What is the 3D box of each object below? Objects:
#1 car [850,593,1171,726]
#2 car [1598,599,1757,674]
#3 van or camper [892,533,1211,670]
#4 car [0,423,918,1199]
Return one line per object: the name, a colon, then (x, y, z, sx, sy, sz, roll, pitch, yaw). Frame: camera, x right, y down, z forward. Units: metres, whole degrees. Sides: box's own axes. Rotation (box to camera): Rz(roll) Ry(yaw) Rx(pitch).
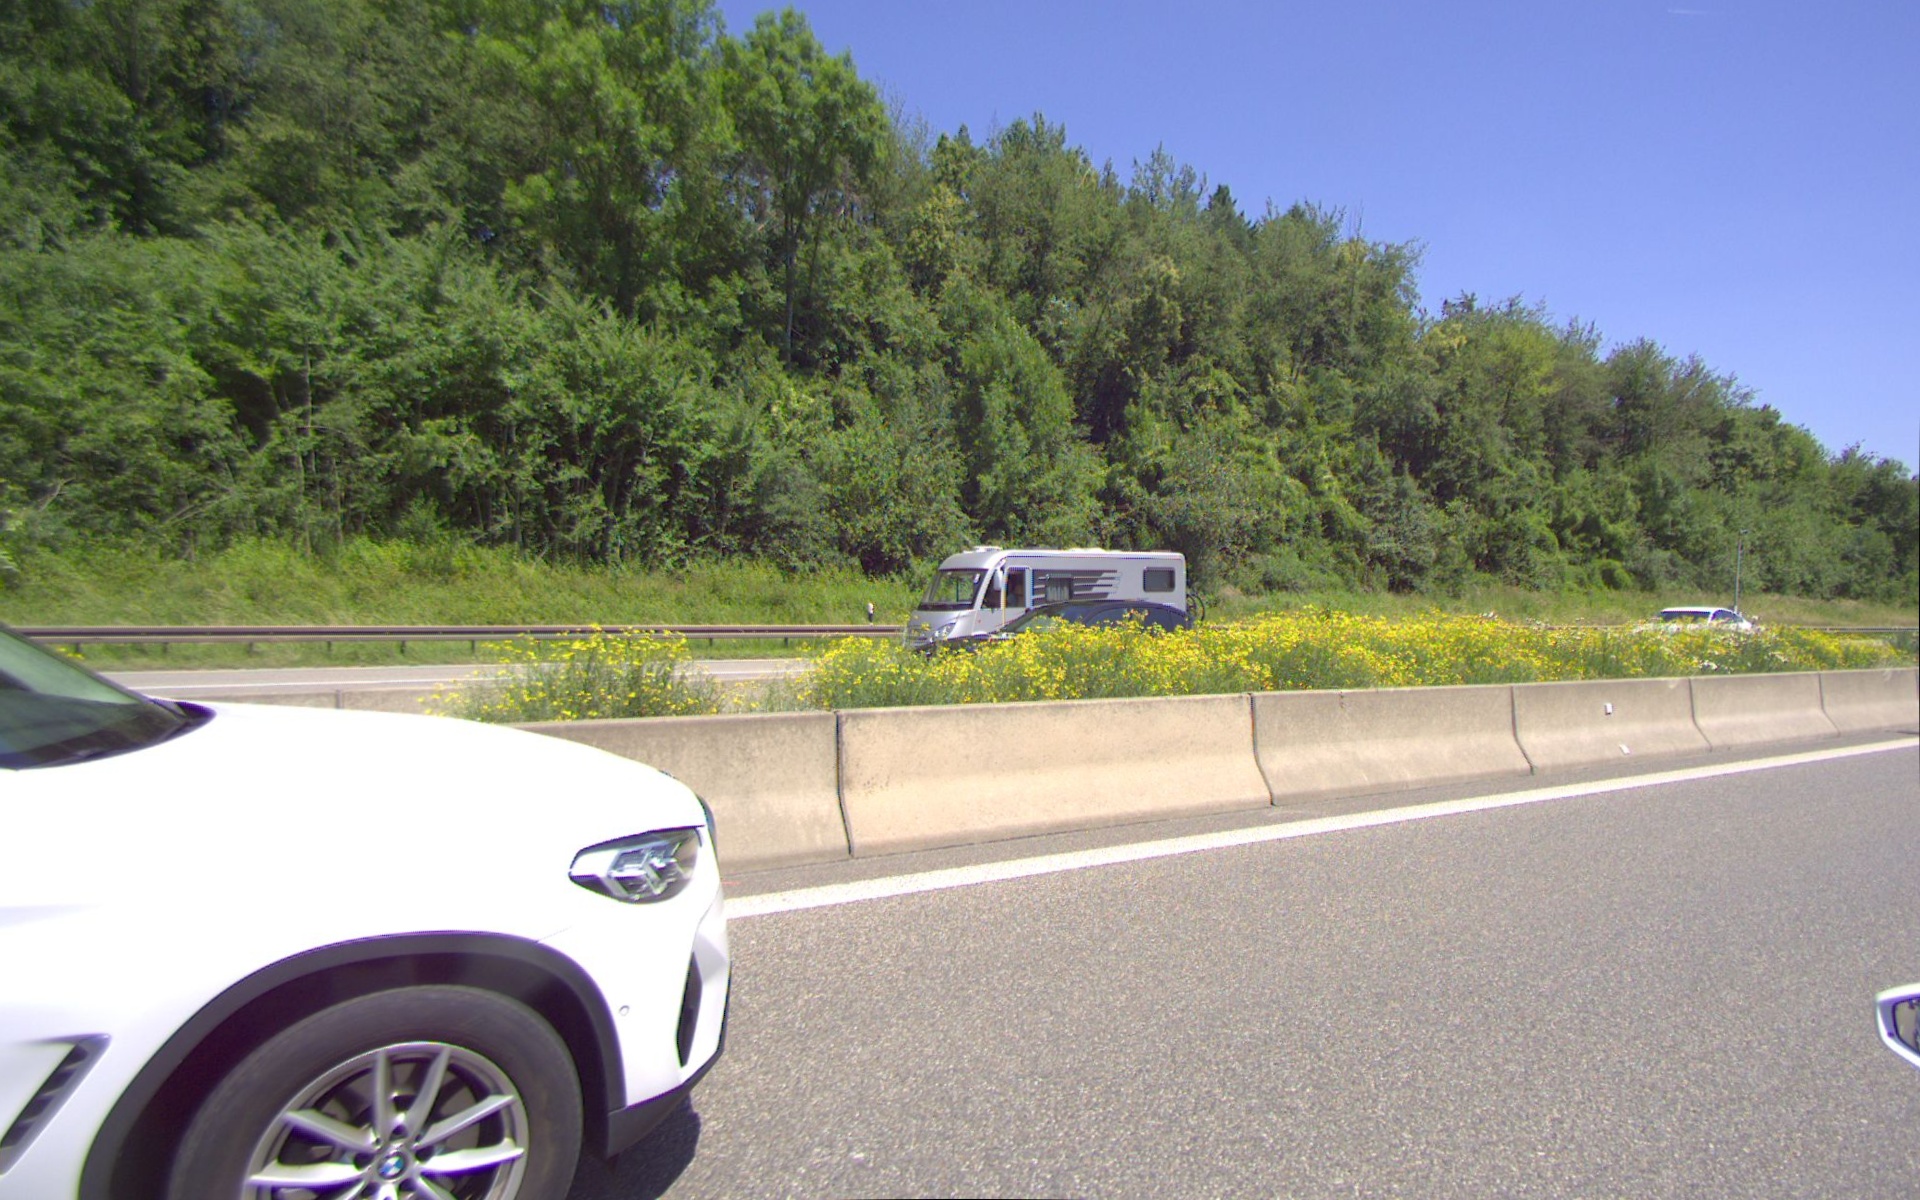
car: (0.680, 0.702, 13.067, 3.809, 1.506, 1.801, 1, 0, -29)
car: (20.862, 1.056, 29.179, 4.512, 2.040, 1.985, 2, -1, -29)
van or camper: (2.111, 0.139, 21.738, 6.850, 2.594, 2.176, 2, -1, -30)
car: (-2.674, 0.564, 1.991, 4.899, 1.717, 1.855, 1, 0, -31)
